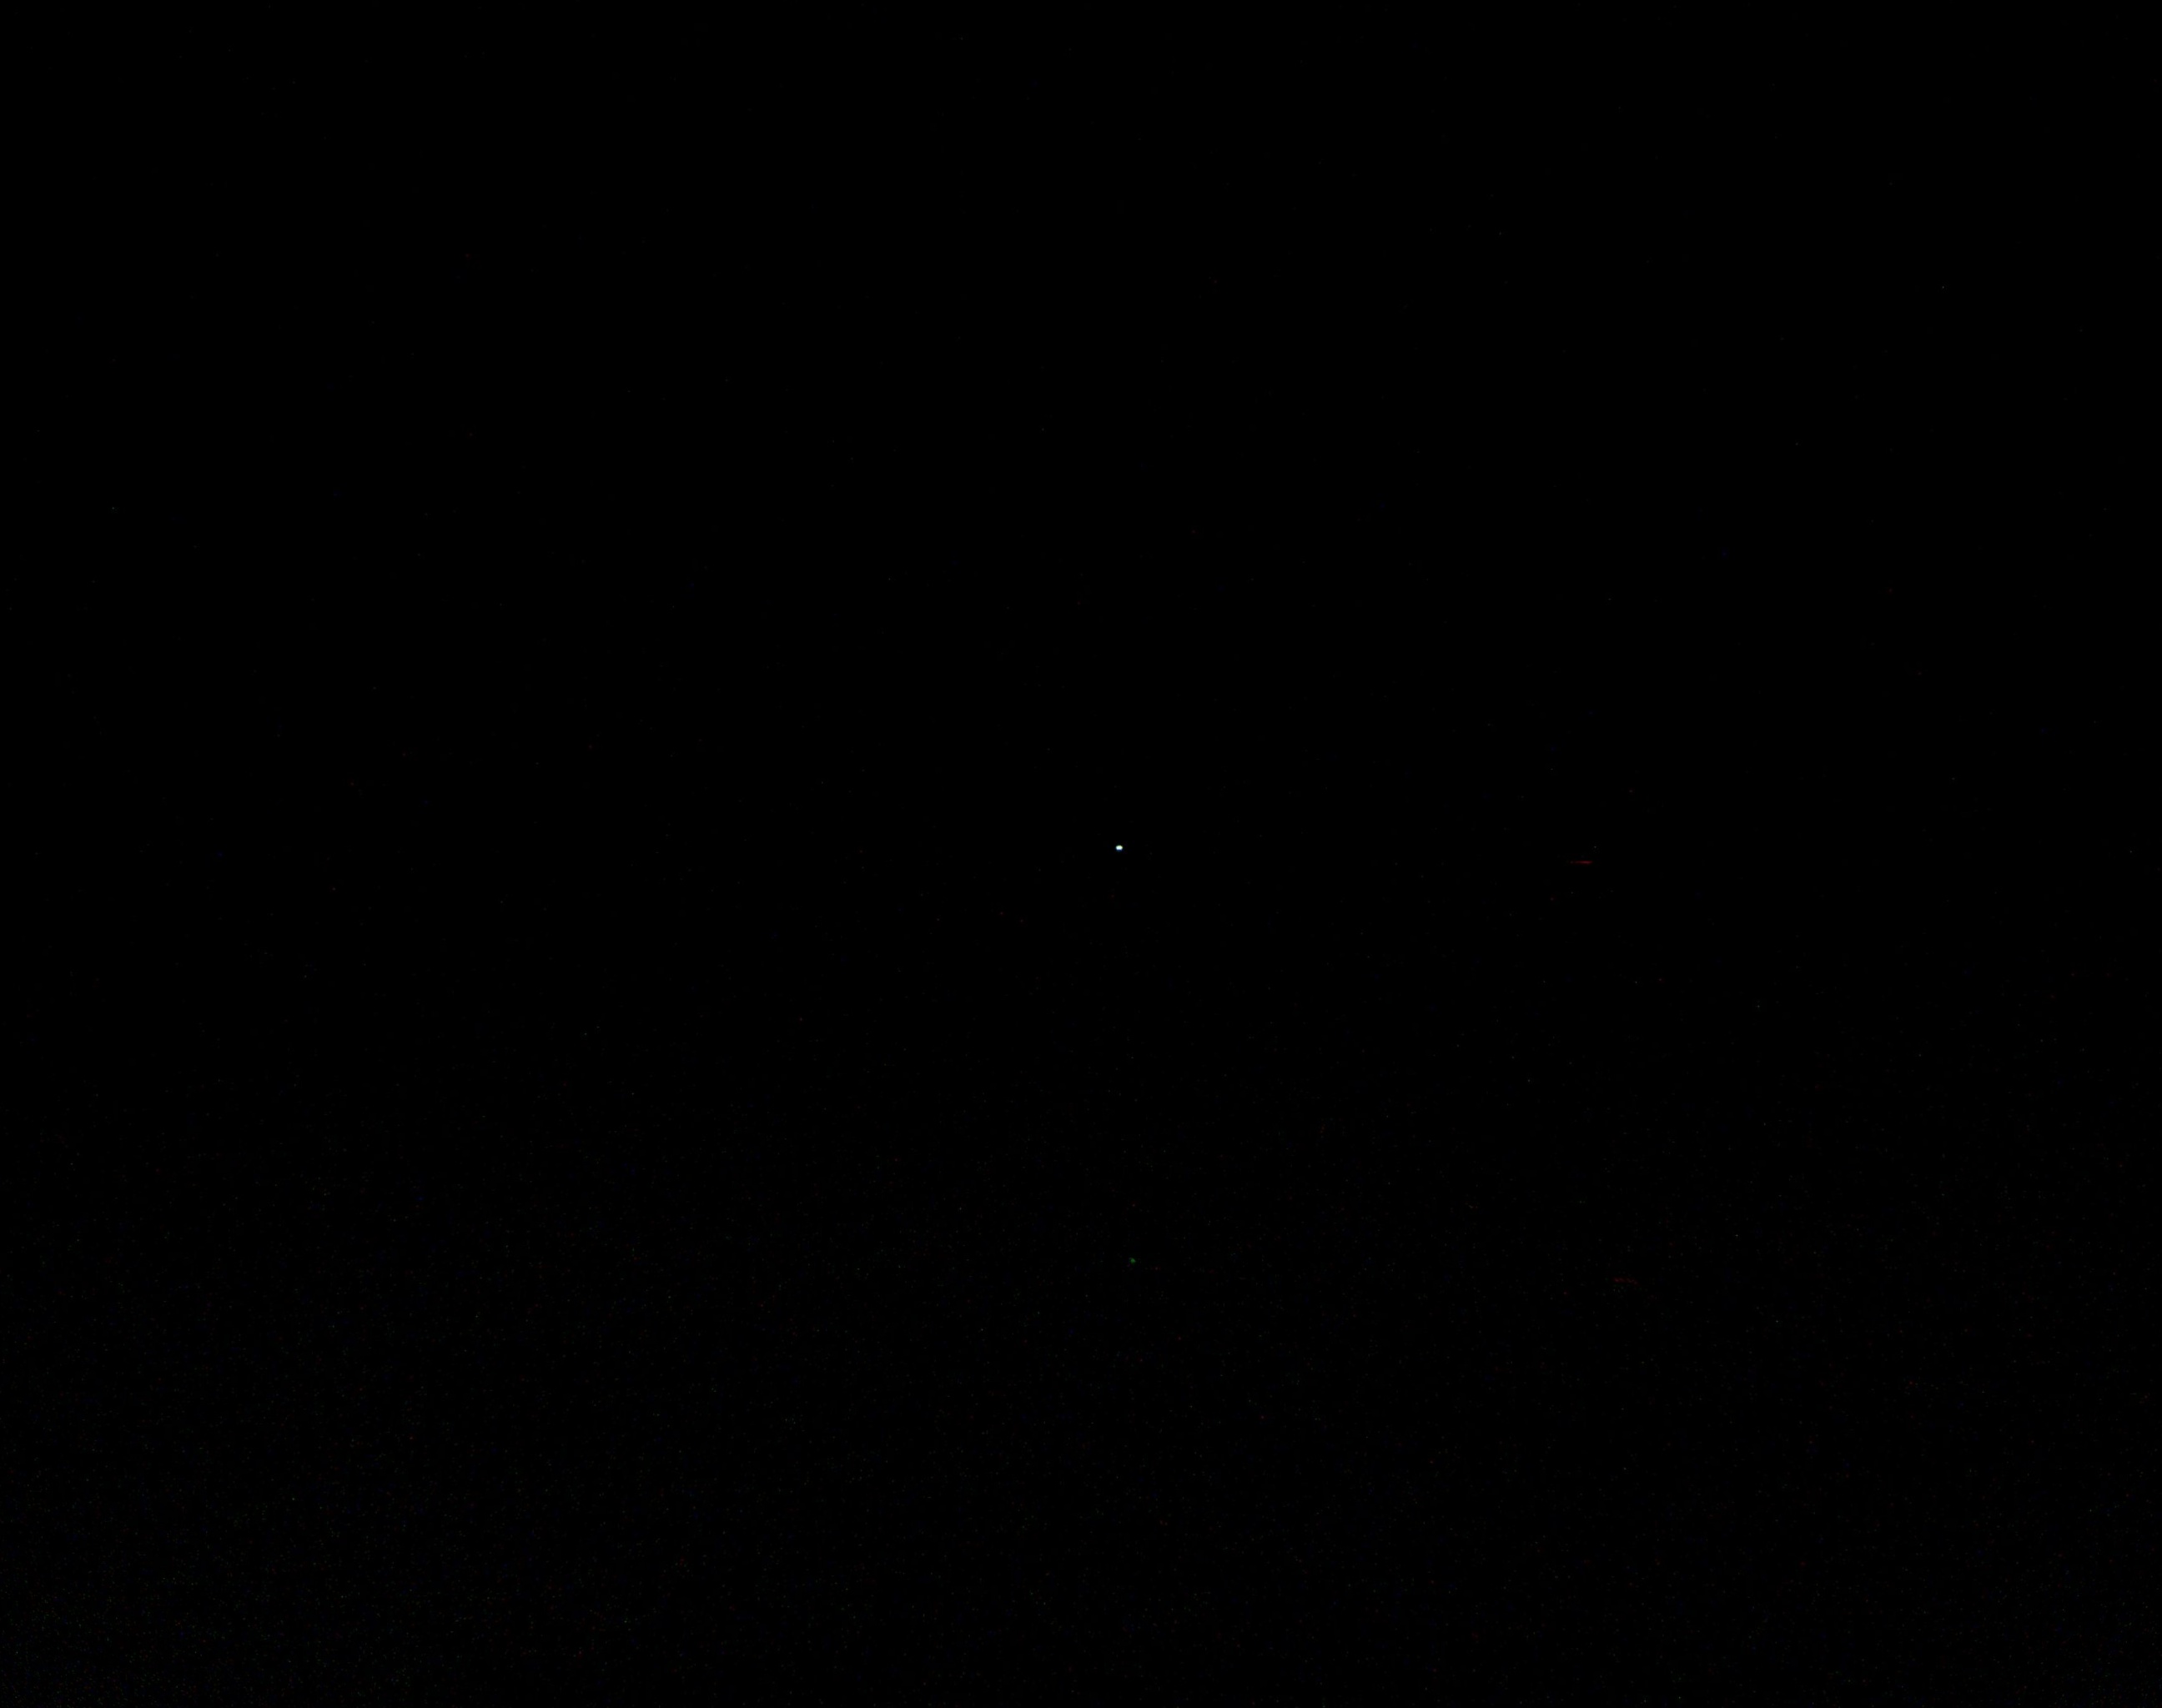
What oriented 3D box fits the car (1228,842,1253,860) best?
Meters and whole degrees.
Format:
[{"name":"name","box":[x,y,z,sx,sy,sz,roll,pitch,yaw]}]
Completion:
[{"name":"car","box":[18.919,-0.348,90.315,1.998,2.002,4.608,-2,1,2]}]
